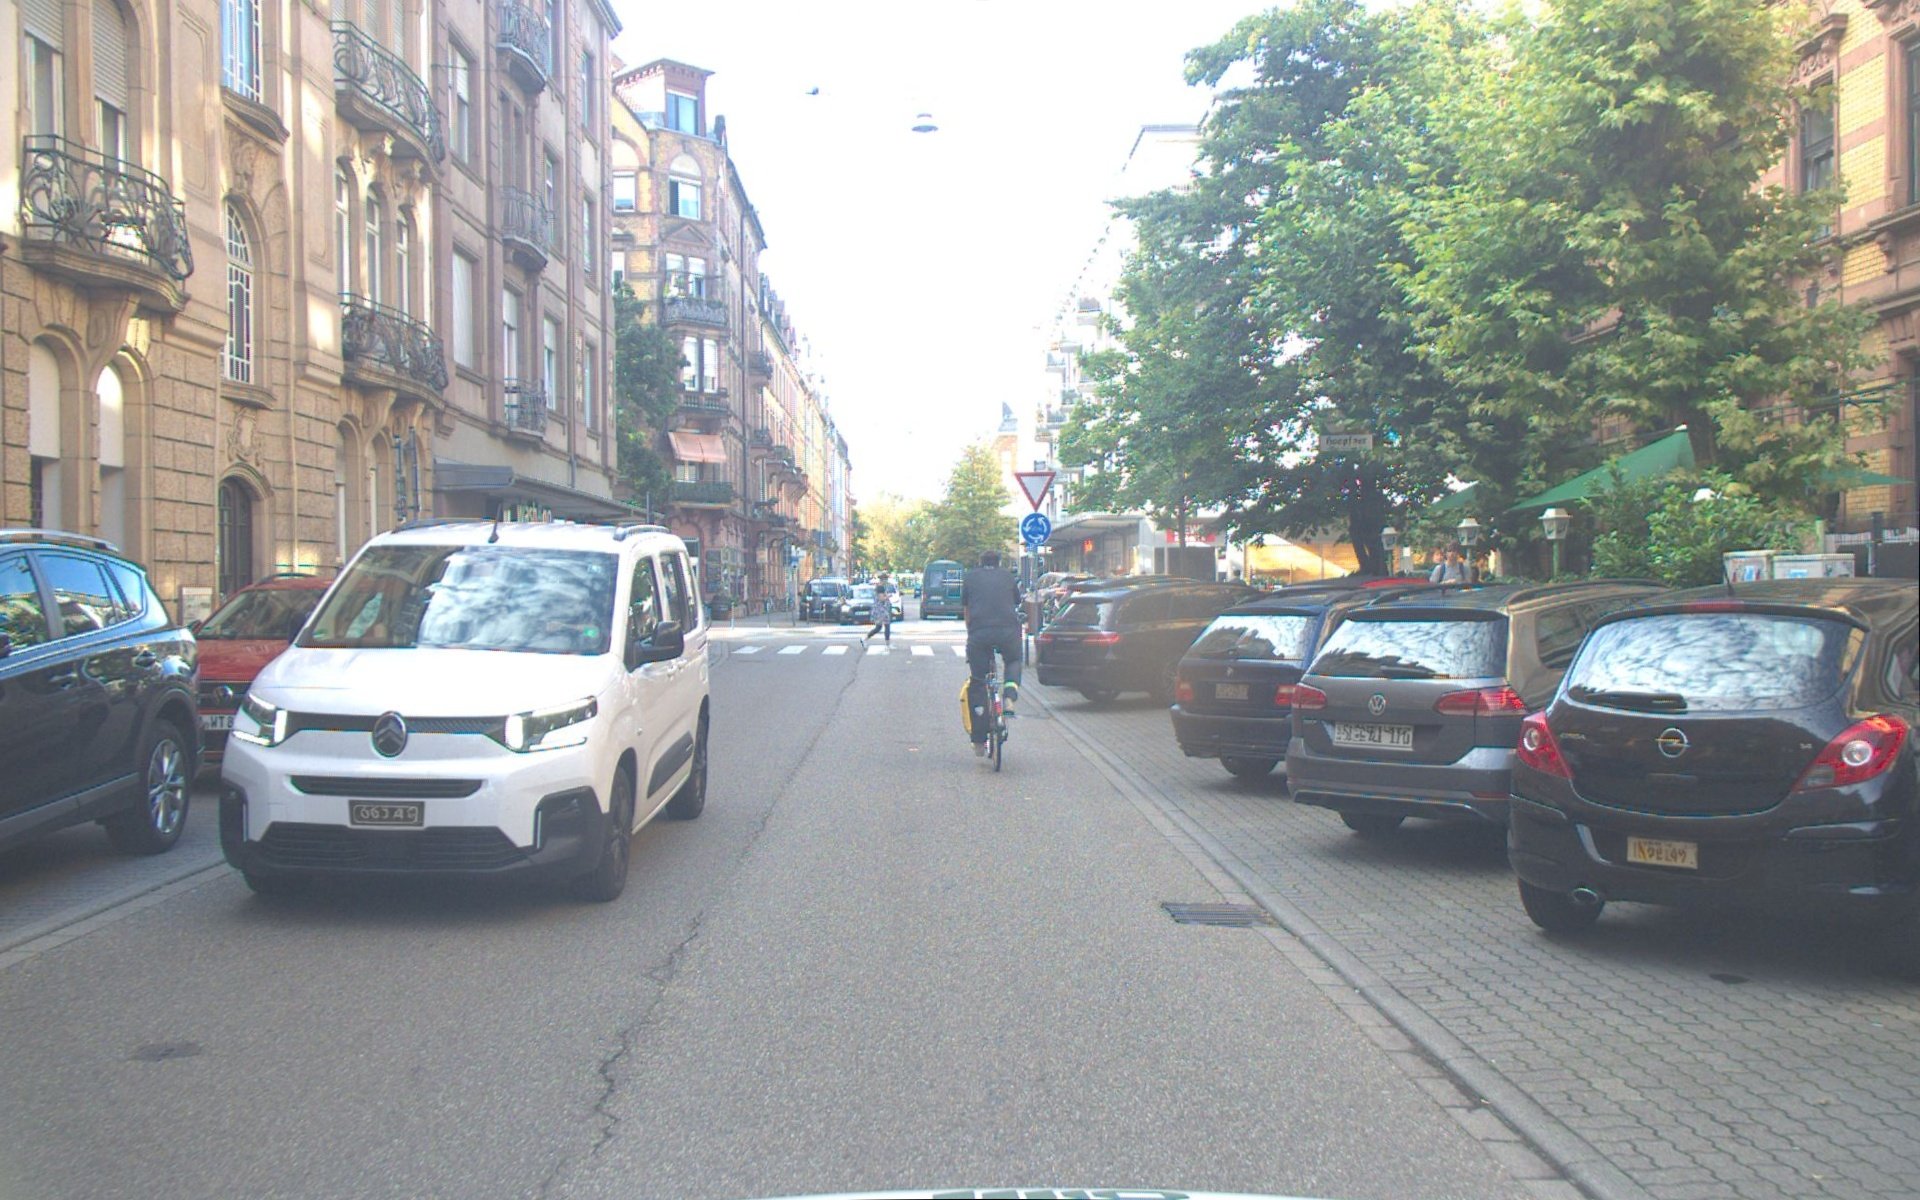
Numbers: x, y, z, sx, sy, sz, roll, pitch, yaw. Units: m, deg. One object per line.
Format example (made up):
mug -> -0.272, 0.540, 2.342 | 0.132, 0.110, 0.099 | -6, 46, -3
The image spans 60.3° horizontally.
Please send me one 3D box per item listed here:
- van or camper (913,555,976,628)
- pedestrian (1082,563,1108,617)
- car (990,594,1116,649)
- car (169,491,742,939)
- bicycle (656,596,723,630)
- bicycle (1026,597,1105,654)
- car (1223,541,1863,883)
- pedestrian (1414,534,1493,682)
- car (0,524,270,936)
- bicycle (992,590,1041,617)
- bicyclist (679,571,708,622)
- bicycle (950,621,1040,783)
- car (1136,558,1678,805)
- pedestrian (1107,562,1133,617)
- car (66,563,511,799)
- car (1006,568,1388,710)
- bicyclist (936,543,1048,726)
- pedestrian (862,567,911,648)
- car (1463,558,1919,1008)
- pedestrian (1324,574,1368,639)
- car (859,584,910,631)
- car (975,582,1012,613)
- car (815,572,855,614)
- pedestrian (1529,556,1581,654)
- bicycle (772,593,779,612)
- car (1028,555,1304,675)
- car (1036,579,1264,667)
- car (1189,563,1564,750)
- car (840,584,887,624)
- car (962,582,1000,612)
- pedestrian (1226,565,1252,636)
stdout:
van or camper -> -0.726, -0.373, 73.182 | 2.481, 3.090, 4.455 | -1, 1, -4
pedestrian -> 4.729, -0.352, 57.997 | 0.850, 1.883, 0.613 | -1, 0, 3
car -> 2.934, 0.654, 52.813 | 1.979, 1.646, 3.947 | -1, 1, -37
car -> -2.398, 0.466, 9.141 | 1.879, 1.860, 4.437 | 1, 0, -1
bicycle -> -9.217, 0.444, 56.332 | 2.151, 1.111, 0.674 | 1, 0, -19
bicycle -> 2.039, 0.499, 32.232 | 0.542, 1.058, 1.838 | -5, 1, -30
car -> 3.803, 0.504, 10.347 | 4.432, 1.502, 1.861 | -5, 3, -42
pedestrian -> 6.512, 0.098, 21.856 | 0.822, 1.911, 0.723 | -1, 0, 2
car -> -4.980, 0.510, 7.745 | 1.836, 1.710, 4.889 | 1, 1, -5
bicycle -> 2.296, 0.155, 67.429 | 1.959, 1.063, 0.532 | -1, 0, 1
bicyclist -> -9.086, -0.117, 56.363 | 0.841, 1.694, 0.786 | 1, 0, -18
bicycle -> 0.266, 0.804, 14.029 | 0.652, 1.198, 2.496 | 0, 0, -1
car -> 3.681, 0.514, 13.247 | 4.421, 1.489, 1.855 | -4, 2, -37
pedestrian -> 5.603, -0.370, 57.946 | 0.850, 1.883, 0.613 | -1, 0, 3
car -> -5.168, 0.537, 13.477 | 1.954, 1.572, 4.425 | -1, 0, -3
car -> 3.140, 0.427, 21.652 | 4.704, 1.482, 2.036 | -4, 2, -30
bicyclist -> 0.260, 0.283, 14.088 | 0.914, 1.509, 0.747 | 0, 0, -2
pedestrian -> -1.682, 0.171, 37.720 | 0.768, 1.811, 0.790 | -1, 1, 37
car -> 4.125, 0.581, 7.624 | 3.963, 1.484, 1.723 | -3, 2, -44
pedestrian -> 8.170, 0.136, 35.048 | 0.742, 1.366, 0.596 | -1, 0, -6
car -> -3.231, 0.285, 71.314 | 1.903, 1.751, 4.850 | -2, 2, 0
car -> 1.564, -0.126, 77.715 | 1.612, 1.347, 3.576 | -3, 1, 0
car -> -6.348, -0.372, 84.419 | 1.954, 2.049, 3.997 | -1, 1, -4
pedestrian -> 9.942, 0.081, 27.661 | 0.616, 1.597, 0.570 | -1, 0, -6
bicycle -> -9.734, 0.110, 87.229 | 0.353, 0.963, 1.713 | 0, 1, -6
car -> 3.462, 0.208, 27.642 | 4.292, 1.673, 1.805 | -4, 2, -28
car -> 3.499, 0.377, 30.278 | 3.890, 1.482, 1.752 | -1, 1, -30
car -> 4.126, 0.459, 16.143 | 3.685, 1.511, 1.716 | -3, 2, -40
car -> -3.656, 0.147, 62.851 | 1.715, 1.461, 4.209 | 0, 0, -3
car -> 1.108, -0.175, 89.171 | 1.953, 1.512, 4.000 | -1, 1, -1
pedestrian -> 7.048, 0.013, 41.770 | 0.615, 1.769, 0.776 | -1, 0, 10
